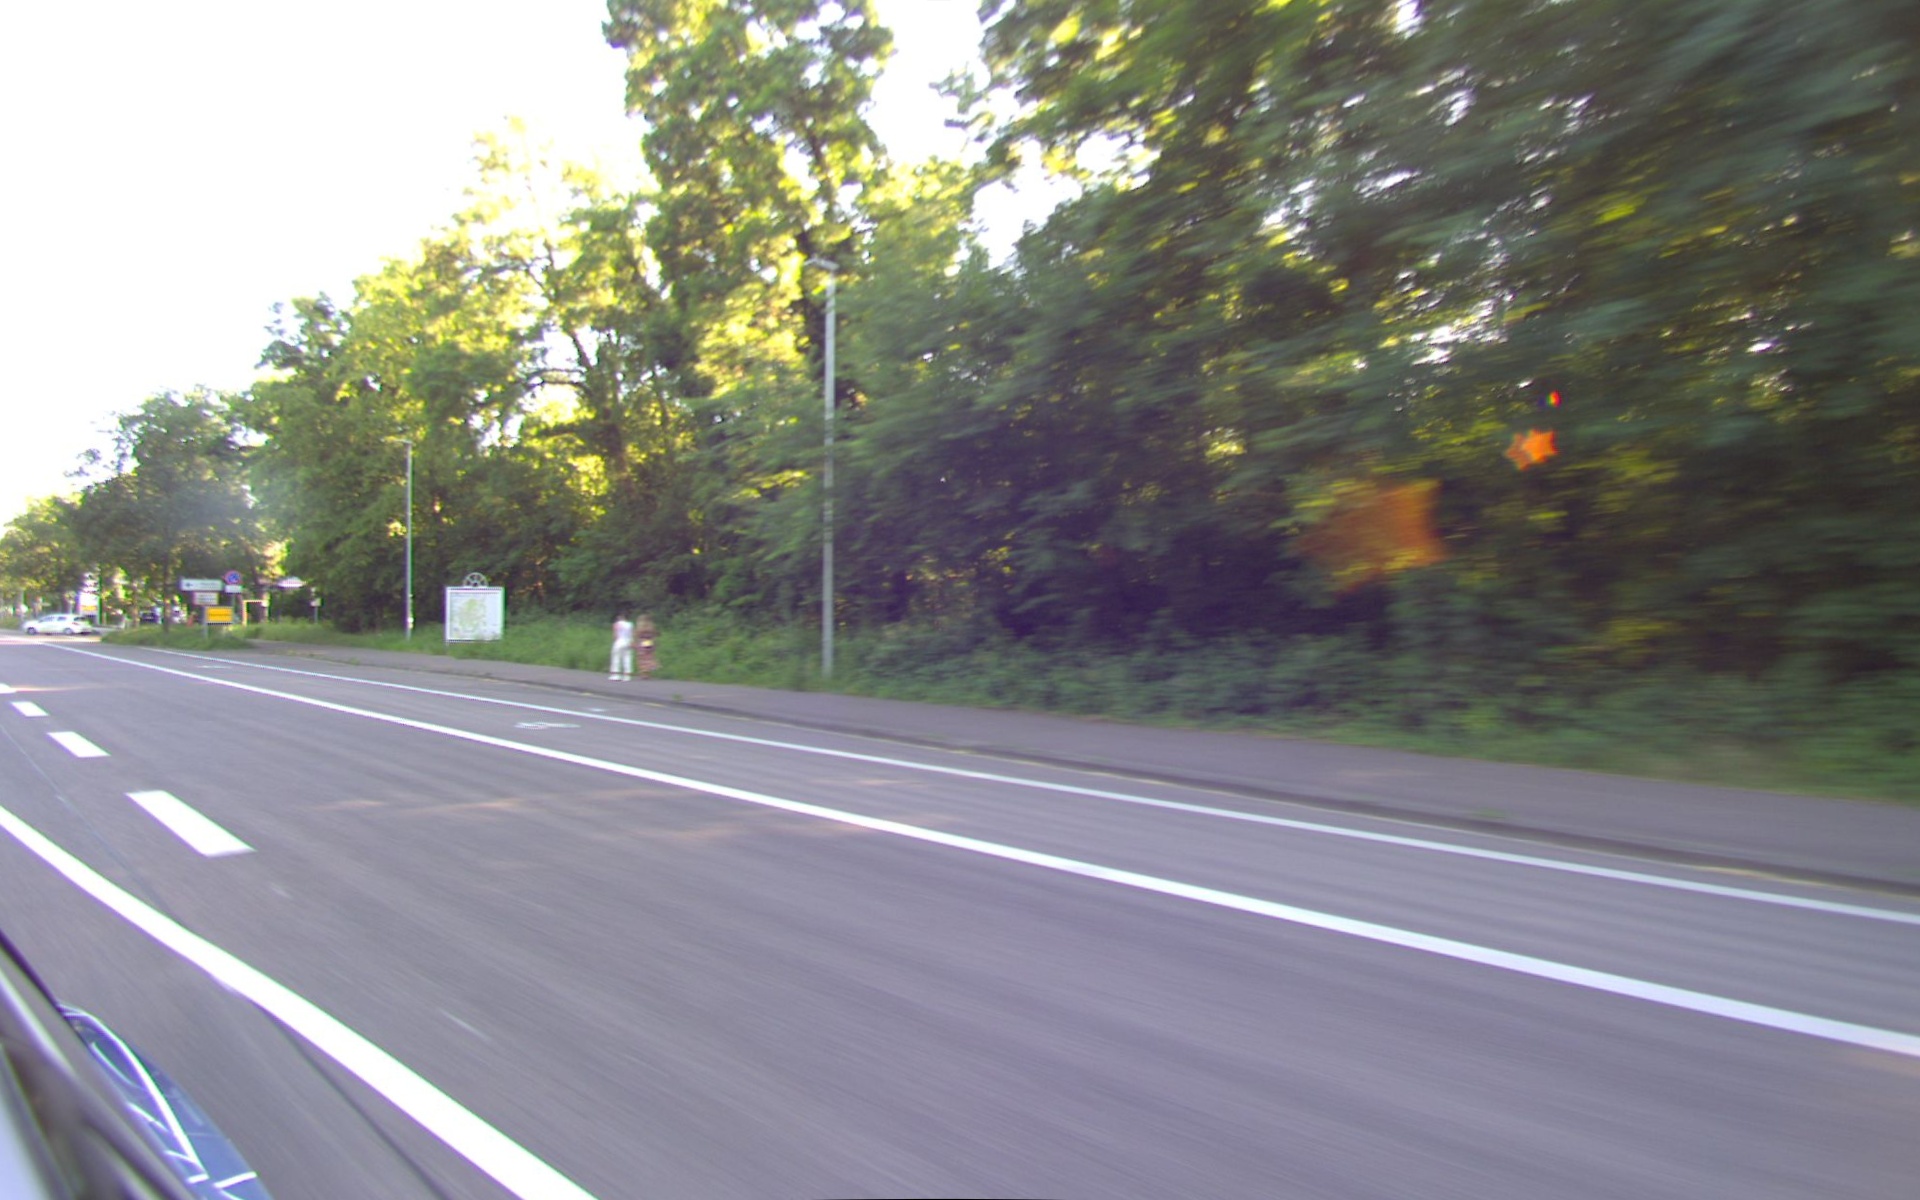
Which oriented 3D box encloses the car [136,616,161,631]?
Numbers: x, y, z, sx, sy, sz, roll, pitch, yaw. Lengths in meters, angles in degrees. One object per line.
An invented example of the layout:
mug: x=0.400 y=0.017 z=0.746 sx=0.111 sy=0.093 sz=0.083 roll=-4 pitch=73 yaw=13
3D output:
car: x=-88.473 y=2.571 z=110.335 sx=3.614 sy=1.653 sz=1.734 roll=-1 pitch=-2 yaw=44

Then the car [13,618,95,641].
car: x=-62.895 y=2.037 z=70.297 sx=3.883 sy=1.537 sz=1.833 roll=1 pitch=-1 yaw=-6

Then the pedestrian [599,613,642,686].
pedestrian: x=-7.971 y=1.152 z=23.754 sx=0.667 sy=1.666 sz=0.790 roll=2 pitch=-2 yaw=-43

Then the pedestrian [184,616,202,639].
pedestrian: x=-60.299 y=2.157 z=79.612 sx=0.824 sy=1.833 sz=0.735 roll=0 pitch=-2 yaw=6

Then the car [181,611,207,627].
car: x=-85.022 y=2.107 z=112.330 sx=3.839 sy=1.653 sz=1.734 roll=-1 pitch=-2 yaw=45

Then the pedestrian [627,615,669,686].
pedestrian: x=-7.470 y=1.203 z=24.223 sx=0.667 sy=1.666 sz=0.790 roll=2 pitch=-2 yaw=-43
